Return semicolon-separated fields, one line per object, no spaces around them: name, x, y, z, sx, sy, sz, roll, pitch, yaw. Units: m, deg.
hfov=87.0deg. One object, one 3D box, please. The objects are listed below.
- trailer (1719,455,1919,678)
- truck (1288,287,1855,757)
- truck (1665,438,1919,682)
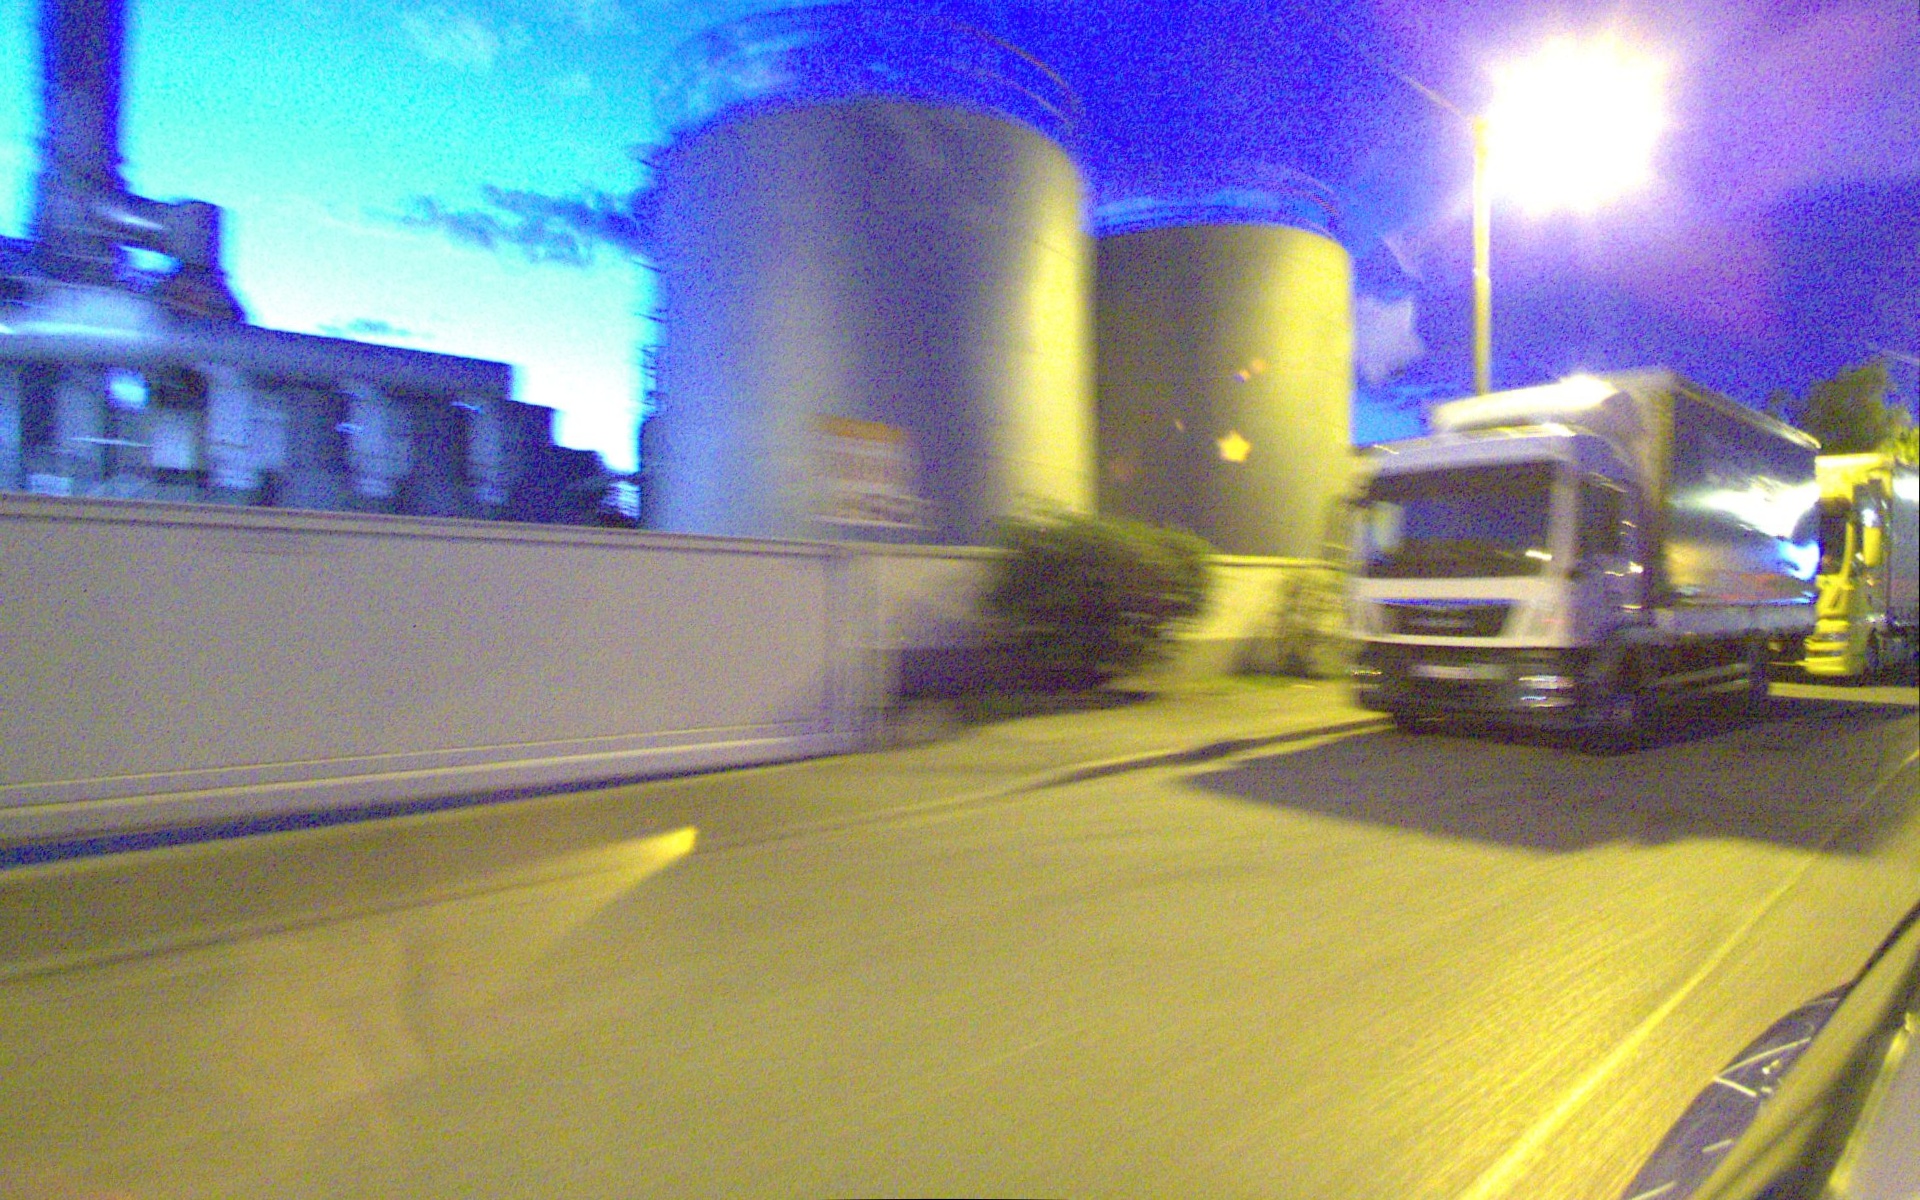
trailer;21.816;-0.735;23.483;13.713;4.032;2.817;-1;2;-36
truck;8.399;-0.777;12.981;10.154;4.032;2.837;-1;2;-38
truck;16.507;-0.736;19.619;5.937;4.033;2.839;-1;1;-36
